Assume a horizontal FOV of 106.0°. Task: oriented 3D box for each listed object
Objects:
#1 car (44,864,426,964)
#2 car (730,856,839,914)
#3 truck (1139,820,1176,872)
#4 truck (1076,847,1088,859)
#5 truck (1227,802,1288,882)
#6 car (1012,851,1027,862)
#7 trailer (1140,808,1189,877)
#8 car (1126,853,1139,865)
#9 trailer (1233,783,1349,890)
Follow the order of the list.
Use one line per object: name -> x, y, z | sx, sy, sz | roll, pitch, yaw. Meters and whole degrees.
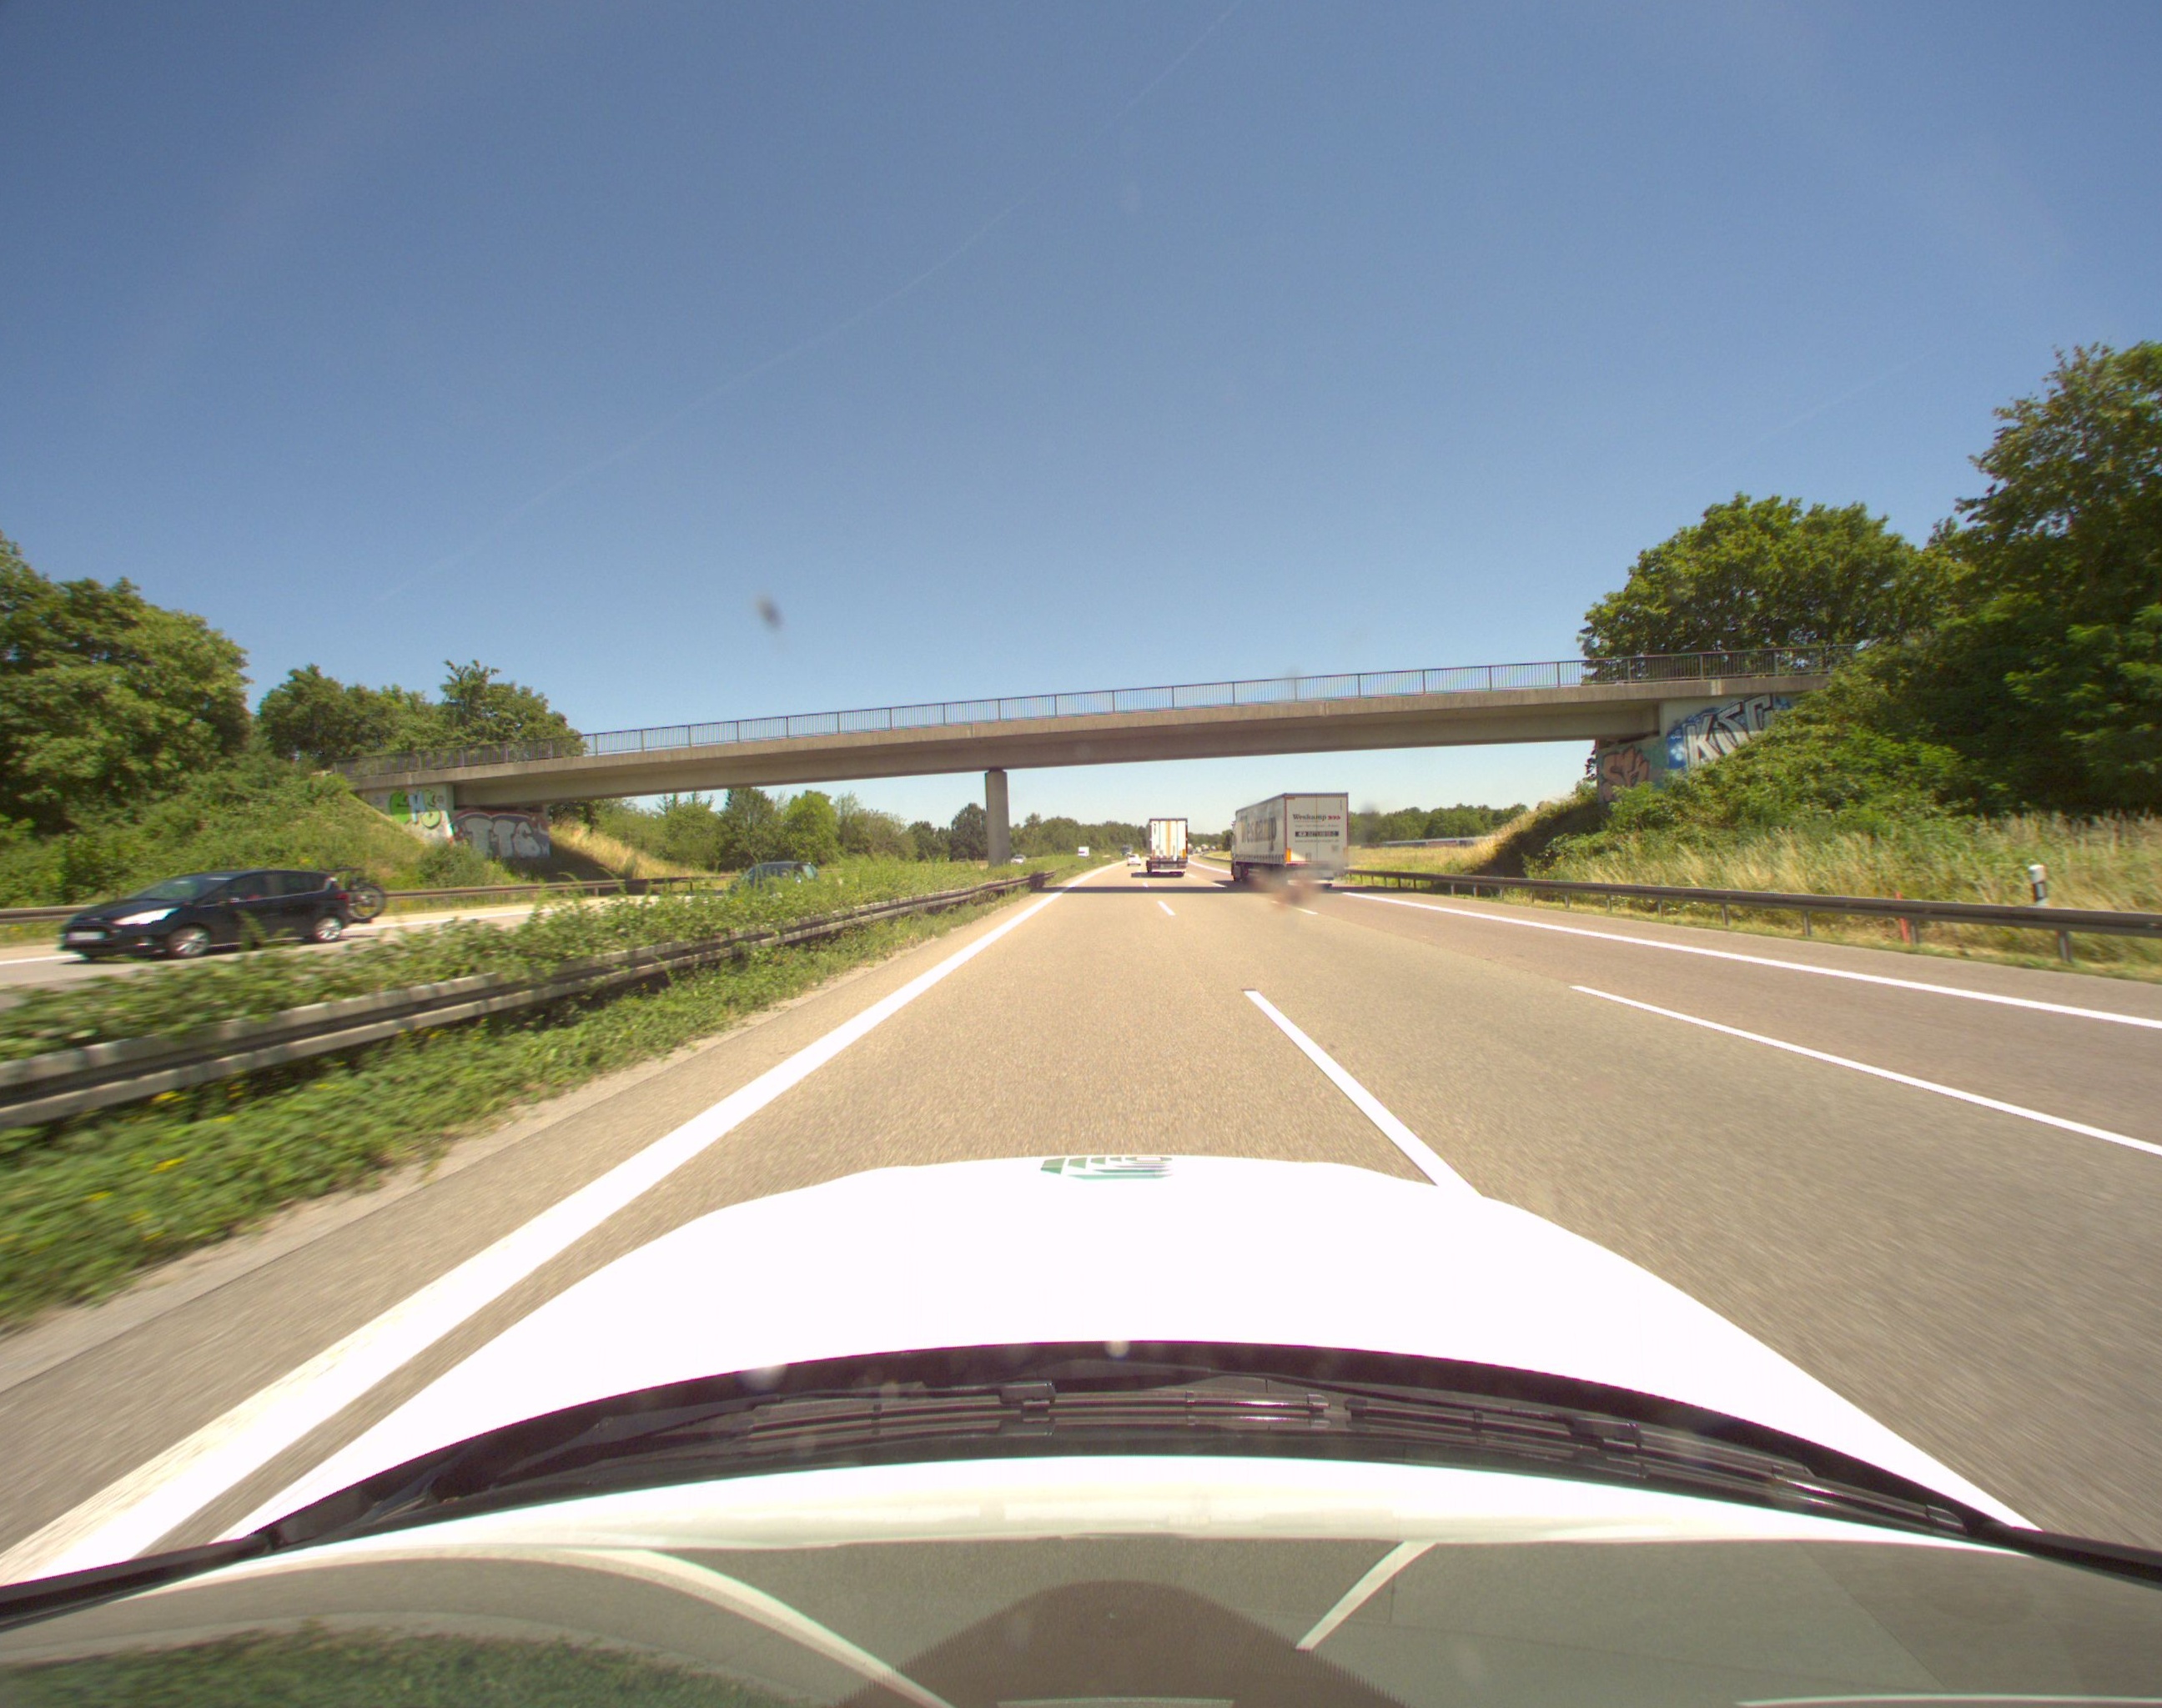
car -> -16.304, 1.029, 16.334 | 1.670, 1.601, 5.636 | 1, 0, 1
car -> -8.878, 0.869, 24.742 | 1.704, 1.574, 4.001 | -2, 0, 1
truck -> 6.498, -0.660, 69.705 | 2.897, 4.256, 4.978 | 0, 0, 2
truck -> 0.249, -0.269, 212.505 | 2.440, 3.098, 7.000 | -1, 0, 5
truck -> 9.927, -0.666, 46.261 | 2.590, 4.256, 5.092 | 0, 0, 3
car -> -9.351, 0.370, 124.187 | 1.704, 1.574, 4.405 | -2, 0, 1
trailer -> 6.161, -0.804, 61.977 | 2.889, 4.657, 13.995 | 0, 0, 2
car -> 6.796, 0.640, 107.463 | 1.620, 1.479, 4.004 | -1, 0, 3
trailer -> 9.605, -0.665, 39.102 | 2.585, 4.251, 13.649 | 0, 0, 3
